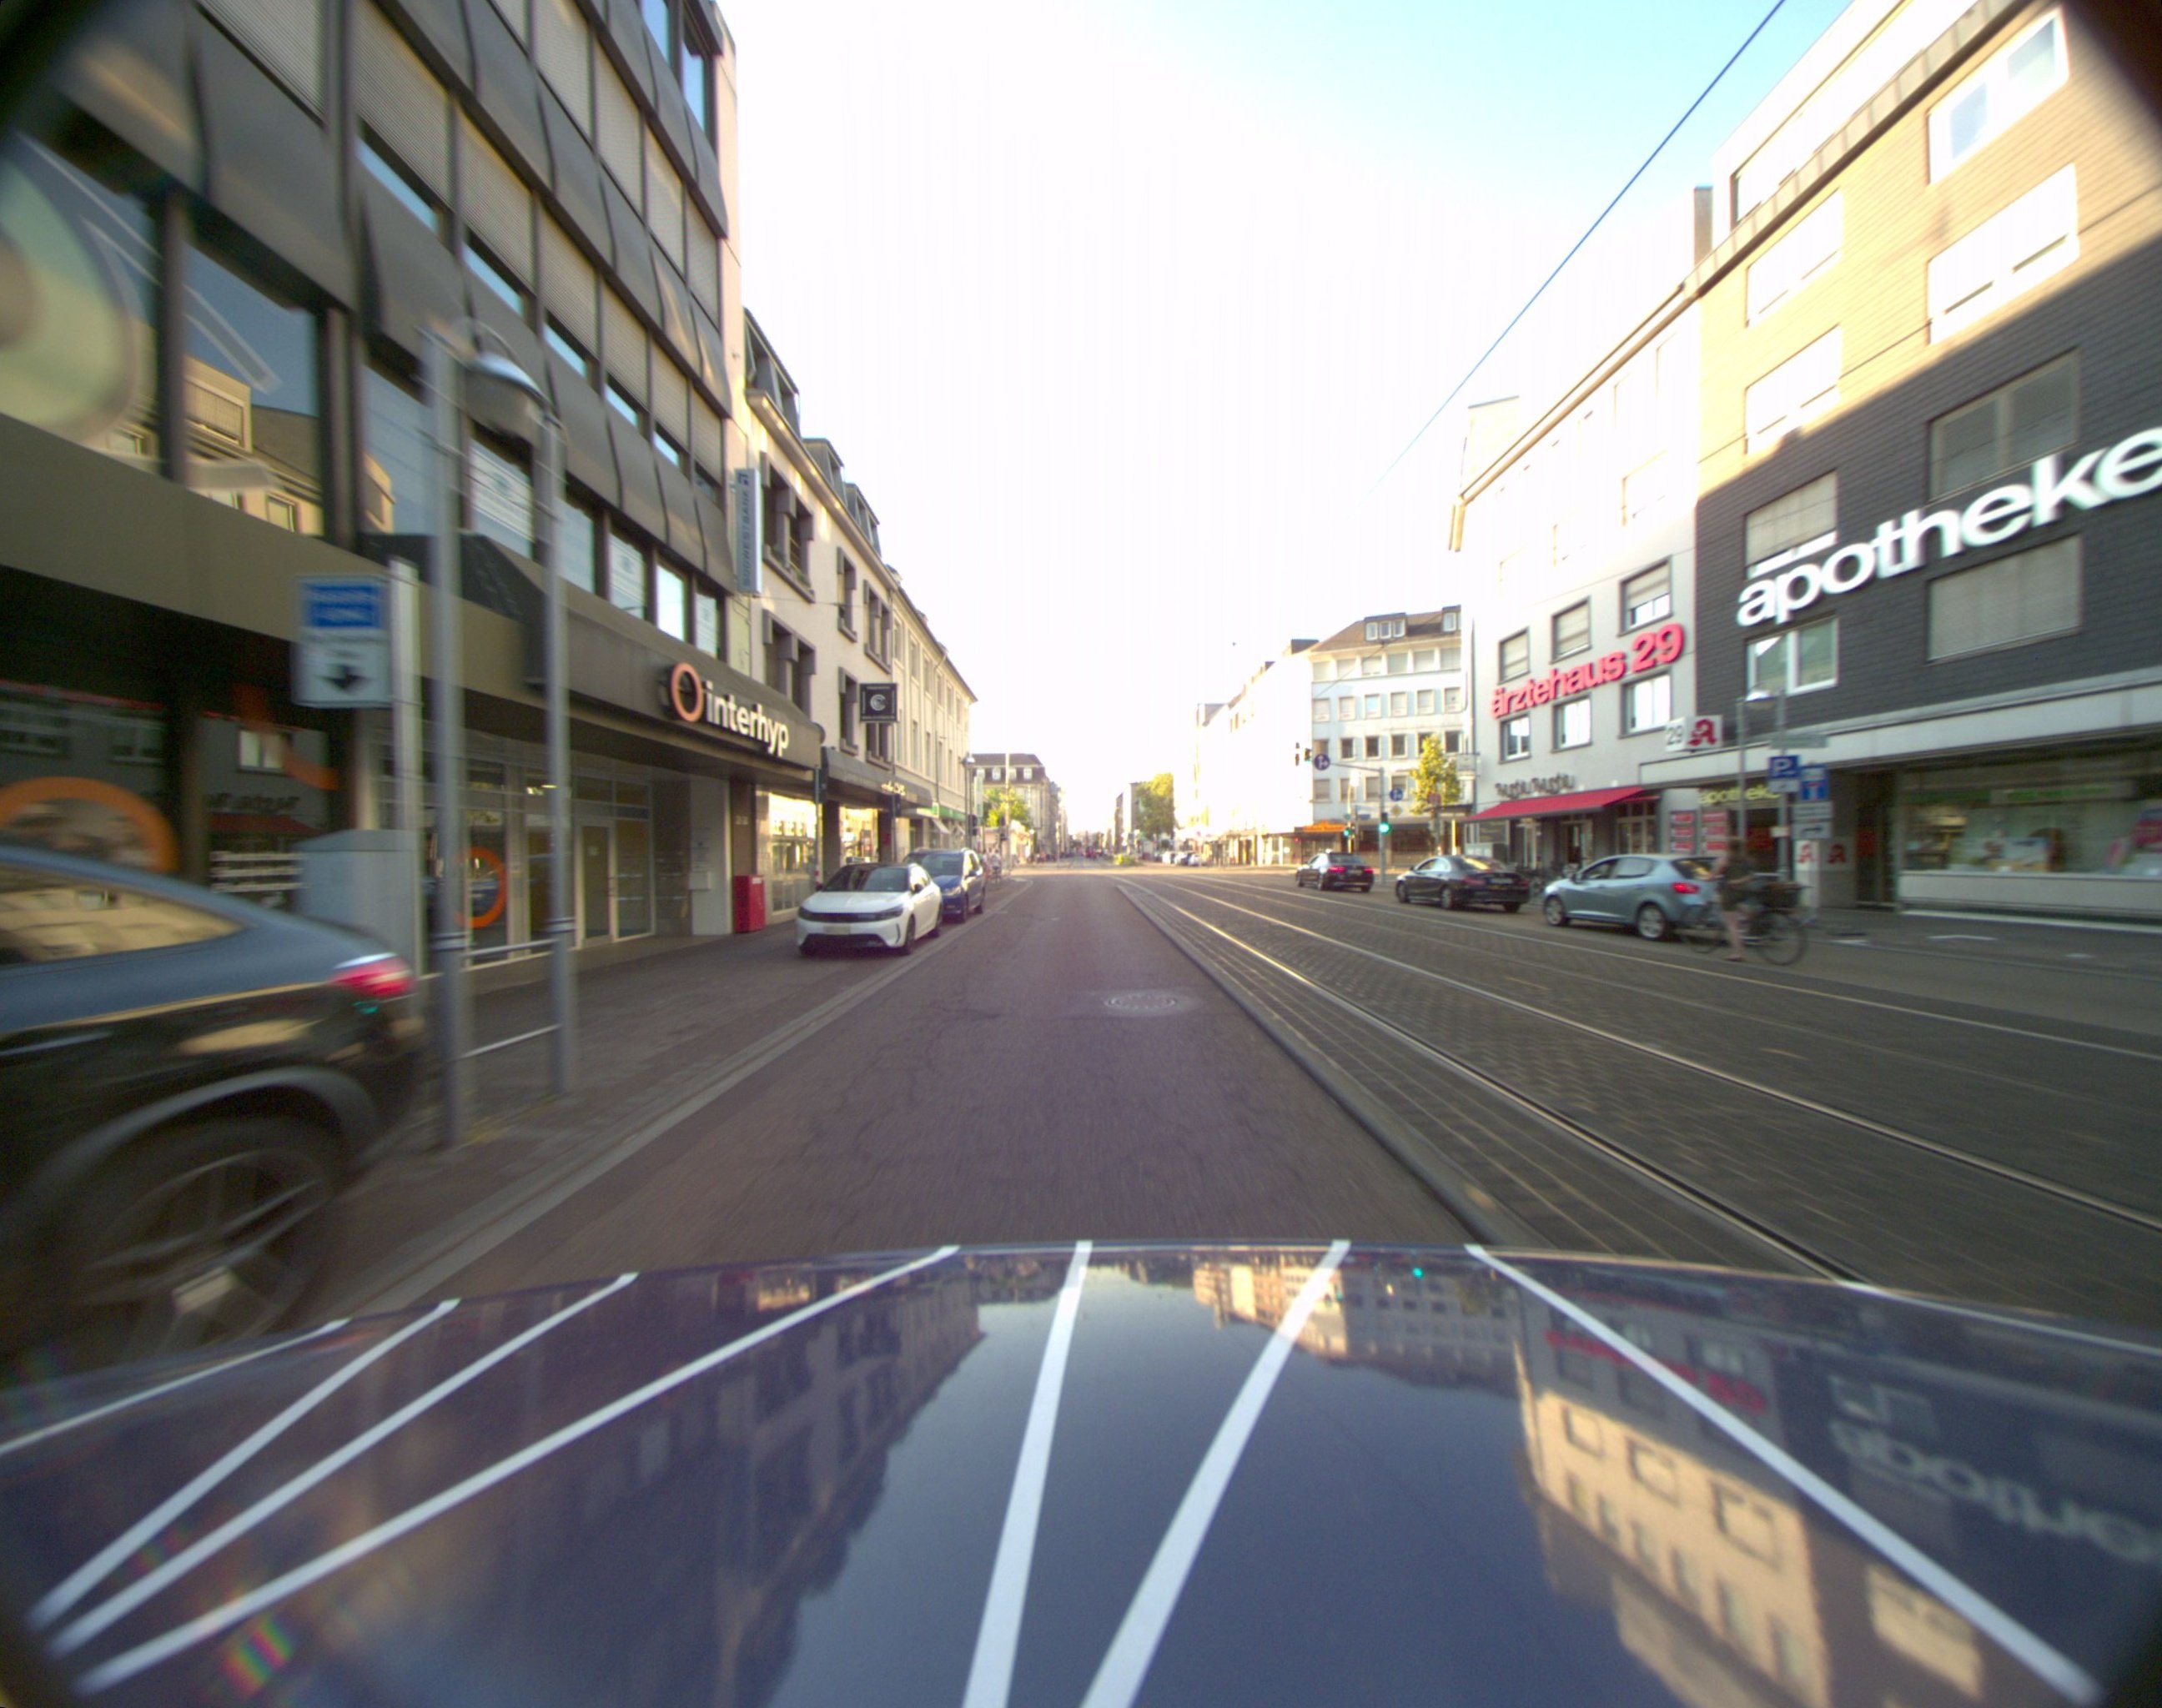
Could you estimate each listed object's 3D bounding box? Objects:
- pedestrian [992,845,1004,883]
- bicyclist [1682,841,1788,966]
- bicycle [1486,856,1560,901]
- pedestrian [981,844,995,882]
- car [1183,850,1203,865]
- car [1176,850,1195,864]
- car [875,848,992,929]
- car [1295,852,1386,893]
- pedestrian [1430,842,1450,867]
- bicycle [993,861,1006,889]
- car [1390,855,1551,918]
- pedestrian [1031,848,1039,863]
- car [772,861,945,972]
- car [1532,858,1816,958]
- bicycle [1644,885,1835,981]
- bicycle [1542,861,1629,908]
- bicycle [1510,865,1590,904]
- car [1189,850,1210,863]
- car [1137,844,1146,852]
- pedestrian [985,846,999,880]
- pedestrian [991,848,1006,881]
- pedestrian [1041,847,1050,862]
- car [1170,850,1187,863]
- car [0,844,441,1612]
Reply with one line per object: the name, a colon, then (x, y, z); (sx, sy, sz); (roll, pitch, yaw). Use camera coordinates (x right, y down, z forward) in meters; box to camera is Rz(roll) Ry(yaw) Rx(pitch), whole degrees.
pedestrian: (-4.167, 0.505, 38.166); (0.576, 1.917, 0.496); (-1, 1, -11)
bicyclist: (8.566, 0.623, 9.985); (0.695, 1.556, 0.799); (-1, 1, -1)
bicycle: (13.439, 0.747, 23.131); (1.860, 1.219, 0.607); (-4, 1, 0)
pedestrian: (-4.709, 0.456, 38.640); (0.640, 1.917, 0.529); (-1, 1, -11)
car: (12.383, 0.358, 84.309); (1.847, 1.626, 4.000); (-1, 0, 3)
car: (12.512, 0.332, 90.961); (1.847, 1.626, 4.000); (-1, 0, 3)
car: (-3.463, 0.734, 18.743); (1.919, 1.707, 4.563); (1, 1, 1)
car: (9.792, 0.641, 29.053); (1.919, 1.378, 4.563); (1, 1, 1)
pedestrian: (24.965, 0.047, 52.877); (0.808, 1.716, 0.991); (-3, 2, -38)
bicycle: (-3.469, 0.880, 32.415); (0.479, 1.083, 1.647); (1, 1, -3)
car: (10.008, 0.767, 19.990); (1.919, 1.378, 4.563); (1, 1, 1)
pedestrian: (-4.974, 0.172, 82.647); (0.806, 1.603, 0.993); (-2, 2, 0)
car: (-3.537, 0.917, 12.840); (1.770, 1.477, 3.872); (1, 1, 0)
car: (9.932, 0.803, 13.222); (1.762, 1.378, 4.060); (1, 1, 1)
bicycle: (8.570, 0.973, 10.037); (0.695, 1.028, 2.081); (-1, 1, -1)
bicycle: (13.431, 0.806, 20.259); (1.860, 1.128, 0.607); (-4, 1, 0)
bicycle: (13.358, 0.866, 21.682); (1.860, 0.978, 0.607); (-4, 1, 0)
car: (12.429, 0.278, 79.869); (1.847, 1.287, 4.000); (-1, 0, 3)
car: (13.041, -1.368, 163.360); (1.847, 1.626, 4.000); (-1, 0, 3)
pedestrian: (-4.613, 0.439, 39.424); (0.639, 1.735, 0.699); (-1, 1, 2)
pedestrian: (-4.452, 0.556, 41.077); (0.671, 1.768, 0.647); (-1, 1, 0)
pedestrian: (-3.863, 0.092, 82.675); (0.806, 1.603, 0.993); (-2, 2, 0)
car: (12.592, 0.306, 98.575); (1.847, 1.626, 4.000); (-1, 0, 3)
car: (-3.468, 0.860, 0.561); (1.989, 1.724, 4.670); (1, 1, 1)
